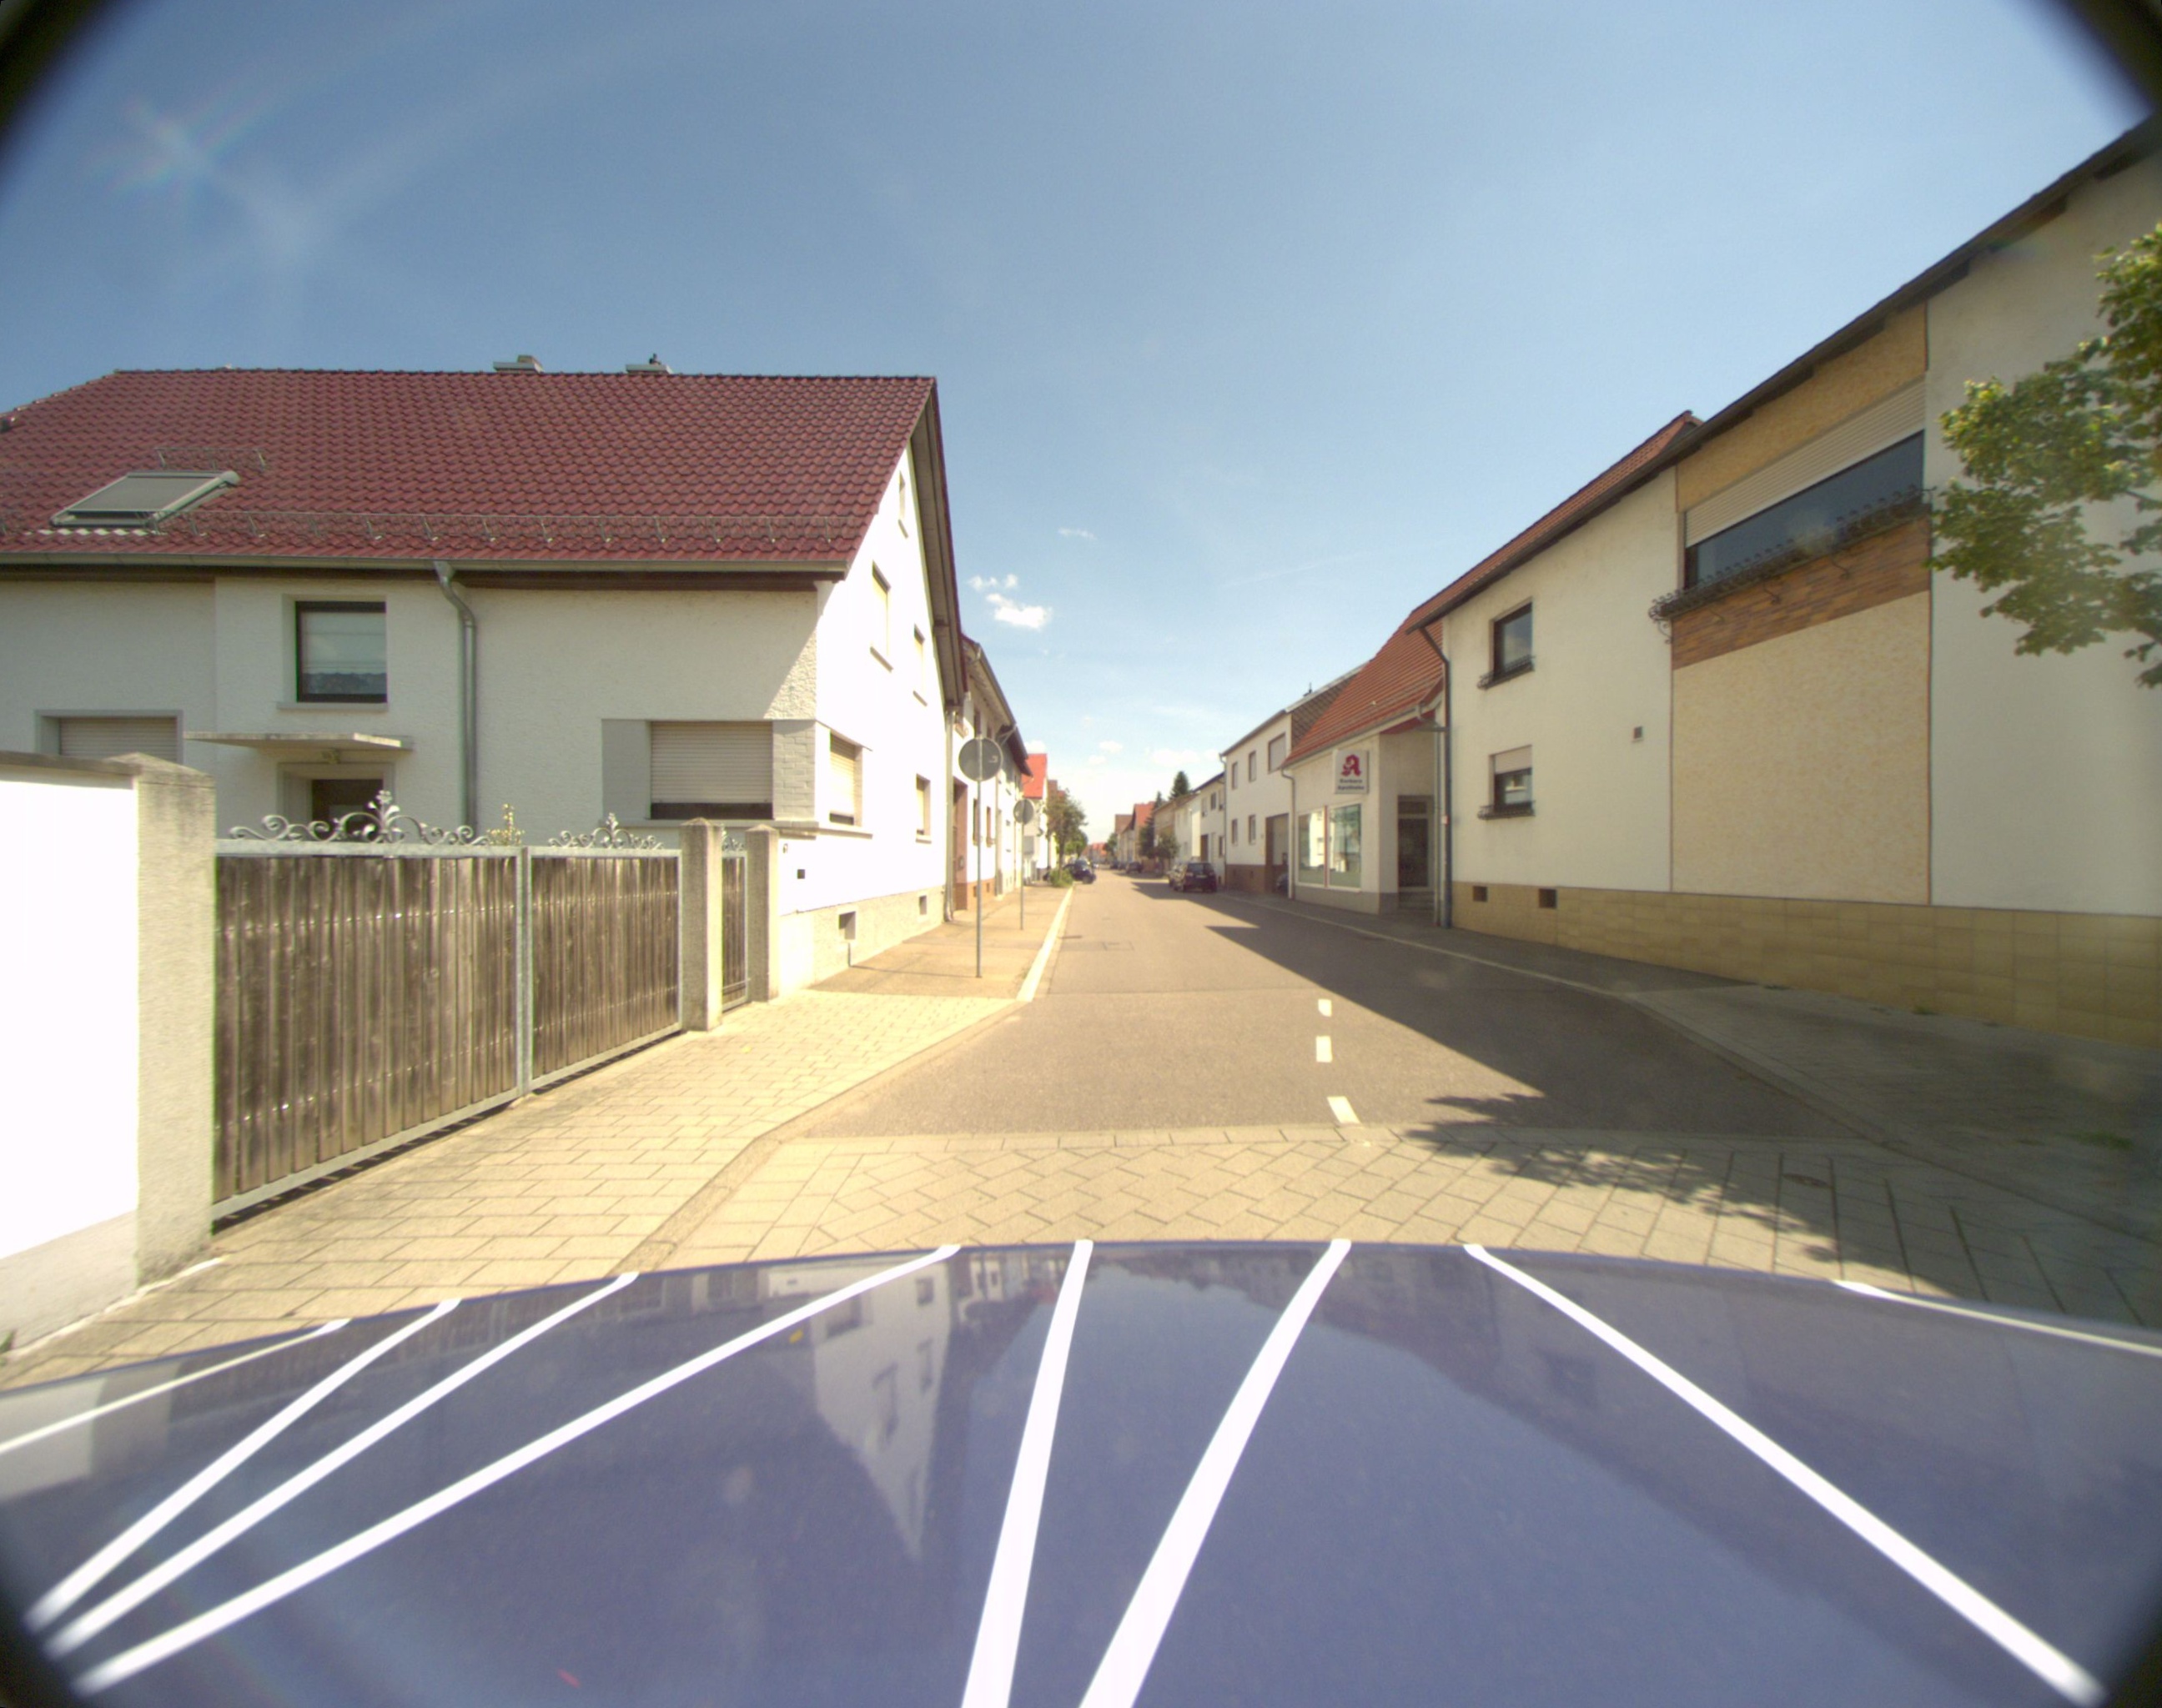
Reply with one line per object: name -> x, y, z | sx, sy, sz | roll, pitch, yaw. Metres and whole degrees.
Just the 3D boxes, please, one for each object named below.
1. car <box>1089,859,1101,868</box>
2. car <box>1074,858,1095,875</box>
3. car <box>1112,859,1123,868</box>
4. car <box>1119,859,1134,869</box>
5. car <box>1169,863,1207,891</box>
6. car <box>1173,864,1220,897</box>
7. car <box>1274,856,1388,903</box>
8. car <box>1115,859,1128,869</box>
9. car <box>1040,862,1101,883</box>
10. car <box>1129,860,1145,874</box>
car -> 2.443, 1.679, 132.474 | 1.958, 1.521, 4.000 | 0, 0, 1
car -> 0.397, 1.219, 78.102 | 1.998, 1.696, 4.001 | 0, 0, 2
car -> 6.728, 1.802, 140.343 | 1.998, 1.570, 4.000 | 0, 0, 0
car -> 6.955, 1.530, 116.620 | 1.855, 1.543, 3.999 | 0, 0, -2
car -> 6.486, 1.371, 46.439 | 1.758, 1.608, 4.120 | 0, 0, 0
car -> 5.901, 1.341, 39.330 | 1.752, 1.557, 3.954 | 0, 0, -1
car -> 10.139, 1.002, 31.048 | 3.996, 1.708, 1.814 | -2, 0, 2
car -> 7.130, 1.765, 134.397 | 1.999, 1.570, 3.999 | 0, 0, -2
car -> -0.726, 1.237, 52.175 | 3.809, 1.420, 1.730 | 0, 0, 22
car -> 6.966, 1.626, 95.136 | 1.852, 1.688, 4.000 | 0, 0, 1
